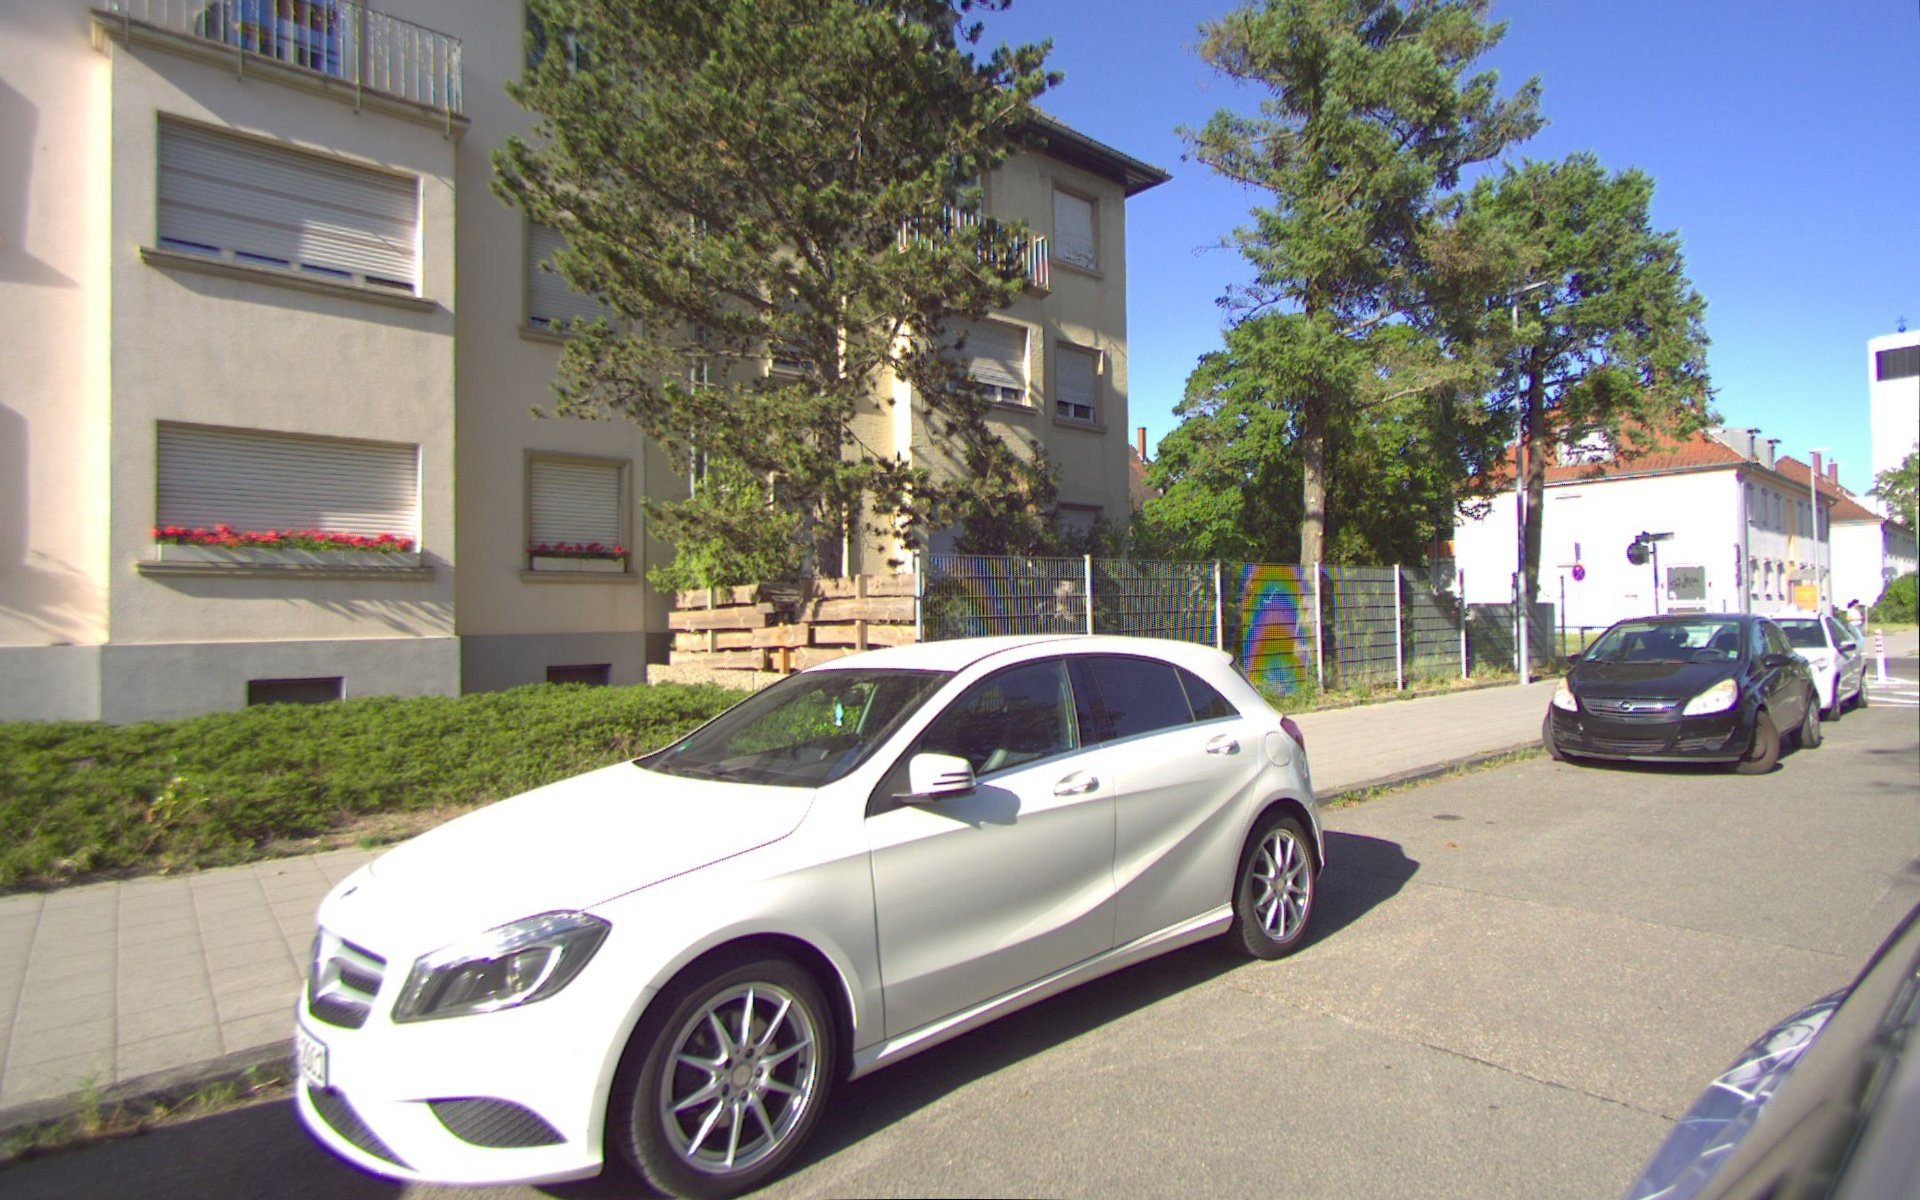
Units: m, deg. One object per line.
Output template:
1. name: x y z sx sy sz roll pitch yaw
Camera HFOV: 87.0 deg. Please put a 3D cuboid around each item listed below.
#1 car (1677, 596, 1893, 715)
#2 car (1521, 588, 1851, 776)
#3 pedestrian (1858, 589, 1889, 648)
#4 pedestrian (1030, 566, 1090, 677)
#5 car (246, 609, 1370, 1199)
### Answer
1. car: 12.019 0.738 14.655 4.062 1.441 1.674 -1 -3 -41
2. car: 7.537 0.713 10.374 3.925 1.530 1.796 -1 -3 -41
3. pedestrian: 27.229 0.540 30.155 0.648 1.688 0.640 -1 1 44
4. pedestrian: 1.549 0.335 15.769 0.637 1.683 0.651 -1 -2 -25
5. car: -0.255 0.847 4.139 4.213 1.439 1.796 -1 -3 -41
